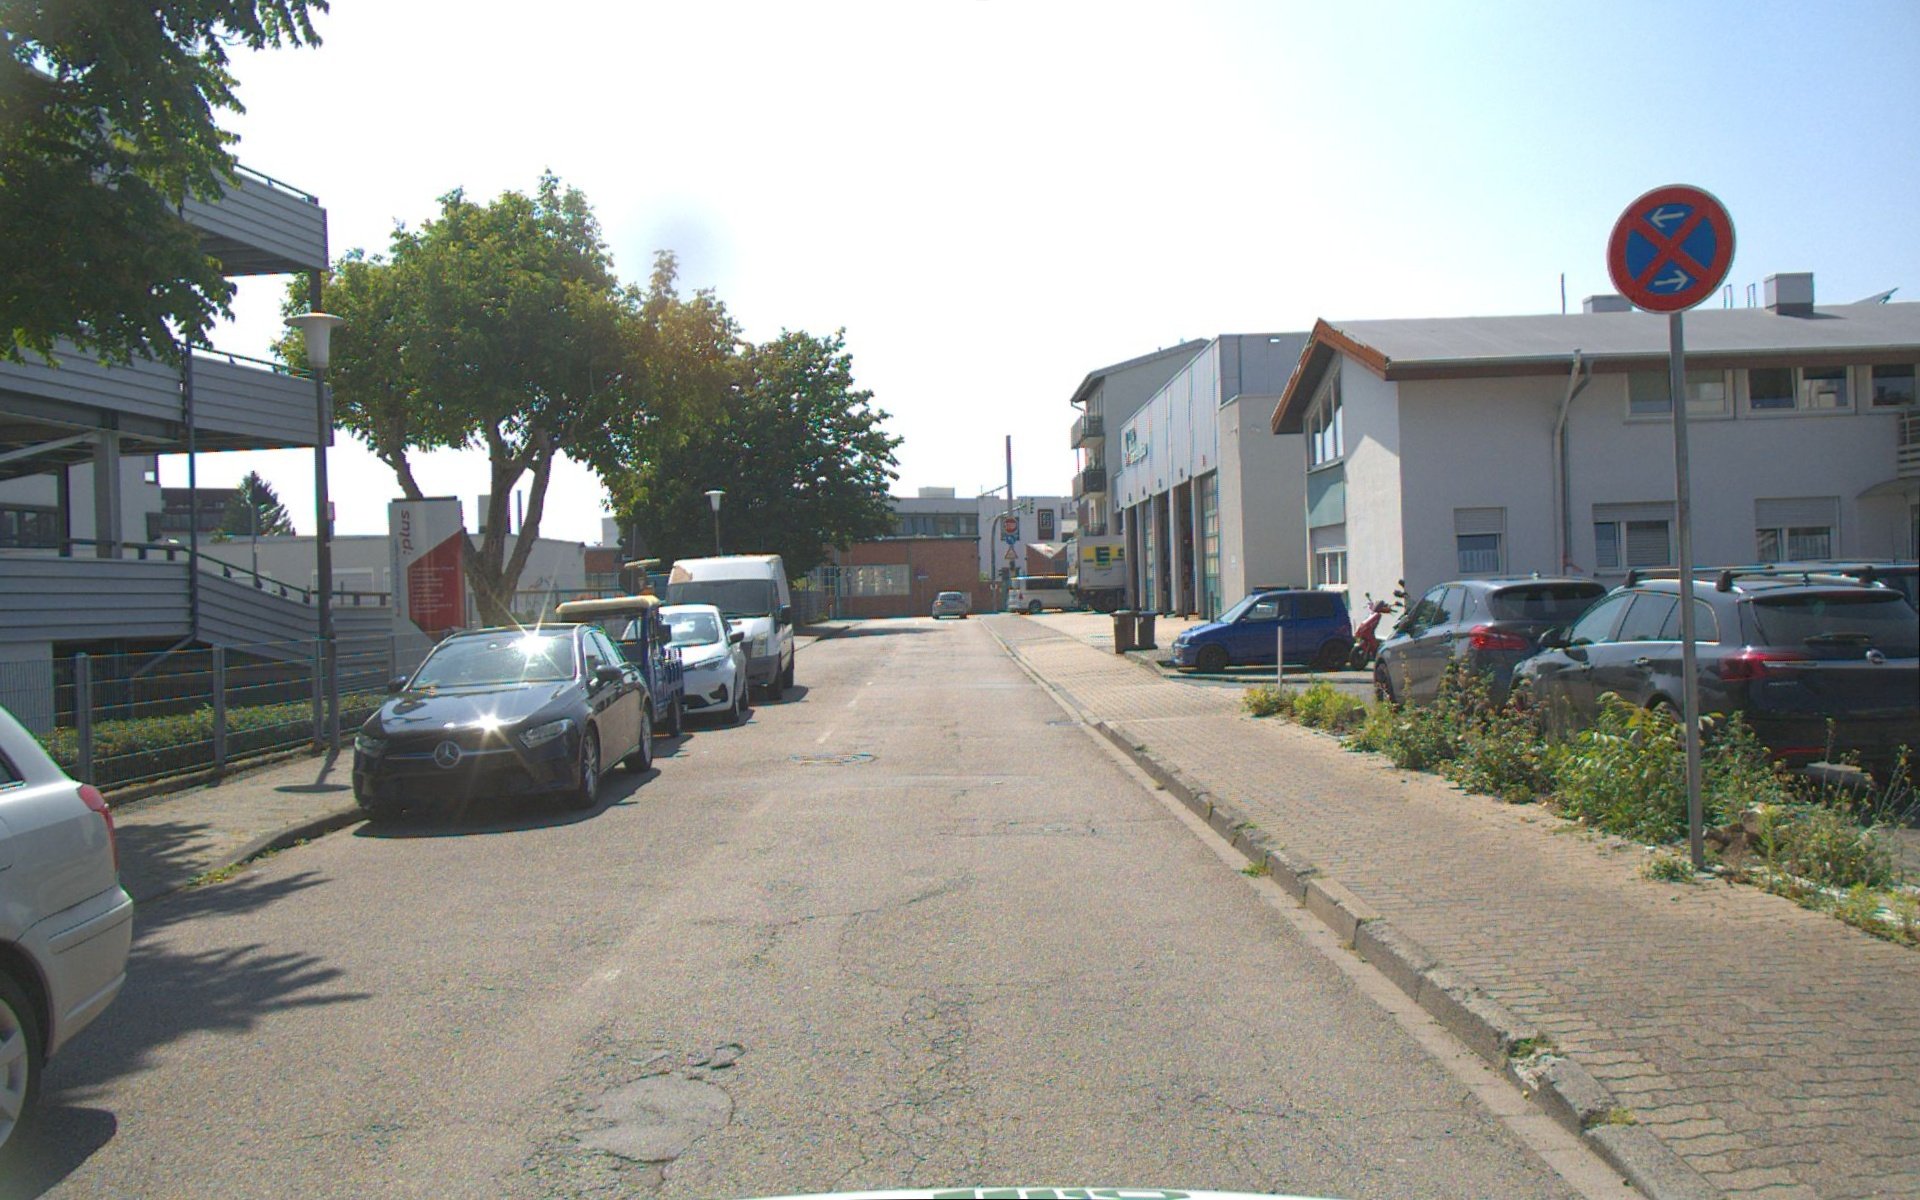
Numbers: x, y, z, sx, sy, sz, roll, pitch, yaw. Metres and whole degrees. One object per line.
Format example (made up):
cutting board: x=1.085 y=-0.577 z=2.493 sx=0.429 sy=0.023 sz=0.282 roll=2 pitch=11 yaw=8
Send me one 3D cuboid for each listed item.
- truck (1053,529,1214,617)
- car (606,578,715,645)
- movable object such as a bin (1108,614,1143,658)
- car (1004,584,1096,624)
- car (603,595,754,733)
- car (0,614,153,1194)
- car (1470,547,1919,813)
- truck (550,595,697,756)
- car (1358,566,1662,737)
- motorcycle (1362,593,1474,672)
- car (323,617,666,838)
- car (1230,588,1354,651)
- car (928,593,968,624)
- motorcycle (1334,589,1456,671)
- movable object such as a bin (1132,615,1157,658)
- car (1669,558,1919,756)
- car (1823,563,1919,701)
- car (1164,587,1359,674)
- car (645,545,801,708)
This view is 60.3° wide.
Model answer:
truck: x=8.451 y=-1.333 z=81.176 sx=7.220 sy=3.708 sz=2.764 roll=-4 pitch=0 yaw=-7
car: x=-11.889 y=0.453 z=65.855 sx=4.003 sy=2.557 sz=1.776 roll=-2 pitch=0 yaw=-3
movable object such as a bin: x=3.755 y=0.816 z=37.499 sx=0.557 sy=0.962 sz=0.556 roll=-2 pitch=0 yaw=33
car: x=4.891 y=0.217 z=89.526 sx=4.585 sy=1.992 sz=1.905 roll=-2 pitch=0 yaw=-20
car: x=-3.808 y=0.832 z=22.891 sx=1.671 sy=1.652 sz=3.969 roll=-3 pitch=-1 yaw=-5
car: x=-3.503 y=0.851 z=3.078 sx=1.705 sy=1.547 sz=4.311 roll=-3 pitch=0 yaw=2
car: x=5.627 y=0.488 z=12.605 sx=1.821 sy=1.595 sz=4.950 roll=-2 pitch=0 yaw=-1
truck: x=-3.854 y=0.820 z=19.281 sx=1.116 sy=1.650 sz=3.139 roll=-3 pitch=0 yaw=-3
car: x=5.807 y=0.499 z=18.047 sx=1.775 sy=1.585 sz=4.291 roll=-2 pitch=0 yaw=-1
motorcycle: x=8.213 y=0.578 z=29.675 sx=1.717 sy=1.301 sz=0.795 roll=-3 pitch=0 yaw=-10
car: x=-3.710 y=0.934 z=13.941 sx=1.670 sy=1.488 sz=4.113 roll=-3 pitch=0 yaw=0
car: x=9.208 y=0.516 z=45.715 sx=1.746 sy=1.566 sz=3.682 roll=-2 pitch=0 yaw=41
car: x=-0.681 y=0.473 z=92.961 sx=1.854 sy=1.714 sz=3.952 roll=-1 pitch=0 yaw=-6
motorcycle: x=7.519 y=0.509 z=28.663 sx=1.832 sy=1.301 sz=0.796 roll=-3 pitch=0 yaw=-4
movable object such as a bin: x=4.236 y=0.832 z=37.916 sx=0.502 sy=0.962 sz=0.488 roll=-2 pitch=0 yaw=11
car: x=8.217 y=0.486 z=15.474 sx=1.723 sy=1.623 sz=3.620 roll=2 pitch=0 yaw=3
car: x=11.626 y=0.305 z=17.970 sx=1.728 sy=1.522 sz=4.138 roll=-3 pitch=0 yaw=-11
car: x=5.404 y=0.540 z=29.924 sx=3.186 sy=1.423 sz=1.673 roll=-2 pitch=0 yaw=0
car: x=-3.896 y=0.418 z=28.072 sx=1.965 sy=2.407 sz=5.227 roll=-3 pitch=0 yaw=-2
